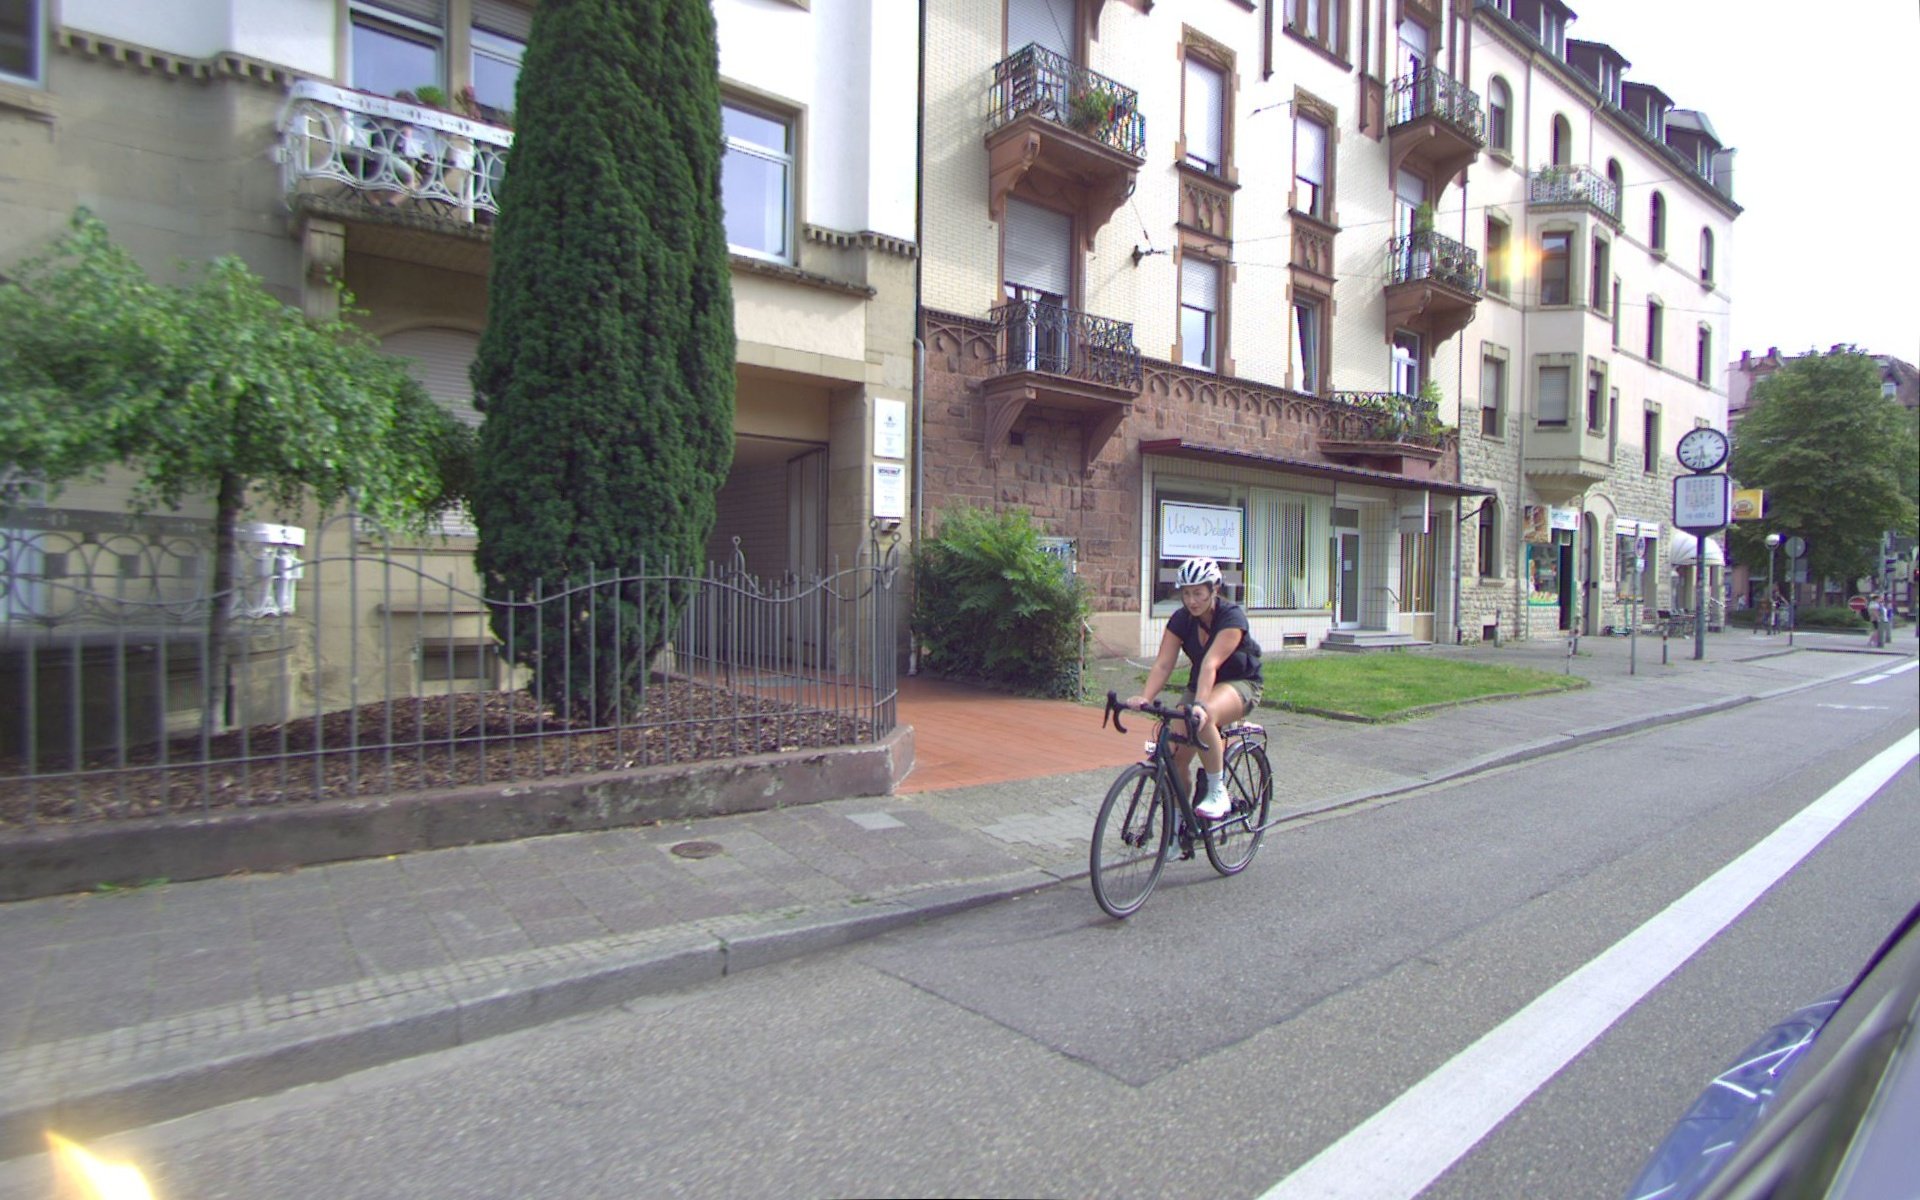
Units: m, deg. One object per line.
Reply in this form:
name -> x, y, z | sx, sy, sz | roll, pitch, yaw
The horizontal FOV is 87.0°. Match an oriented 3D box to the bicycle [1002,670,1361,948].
bicycle -> 1.168, 0.908, 5.010 | 2.035, 0.993, 0.639 | 0, -1, -41

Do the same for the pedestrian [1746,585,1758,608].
pedestrian -> 59.792, -0.275, 76.375 | 0.630, 1.715, 0.611 | 0, 1, -43

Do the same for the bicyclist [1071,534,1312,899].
bicyclist -> 1.158, 0.505, 5.017 | 1.091, 1.590, 0.639 | 0, -1, -40

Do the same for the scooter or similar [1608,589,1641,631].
scooter or similar -> 19.686, 0.295, 29.970 | 1.174, 1.182, 0.398 | 0, 3, -38

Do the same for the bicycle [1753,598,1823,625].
bicycle -> 36.292, 0.490, 44.433 | 0.871, 1.058, 3.091 | 1, 1, 8

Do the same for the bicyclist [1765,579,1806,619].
bicyclist -> 36.306, -0.045, 44.510 | 0.825, 1.711, 1.244 | 1, 0, 8

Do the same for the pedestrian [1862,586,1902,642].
pedestrian -> 29.158, 0.424, 31.990 | 0.746, 1.680, 0.721 | 0, 5, -42
